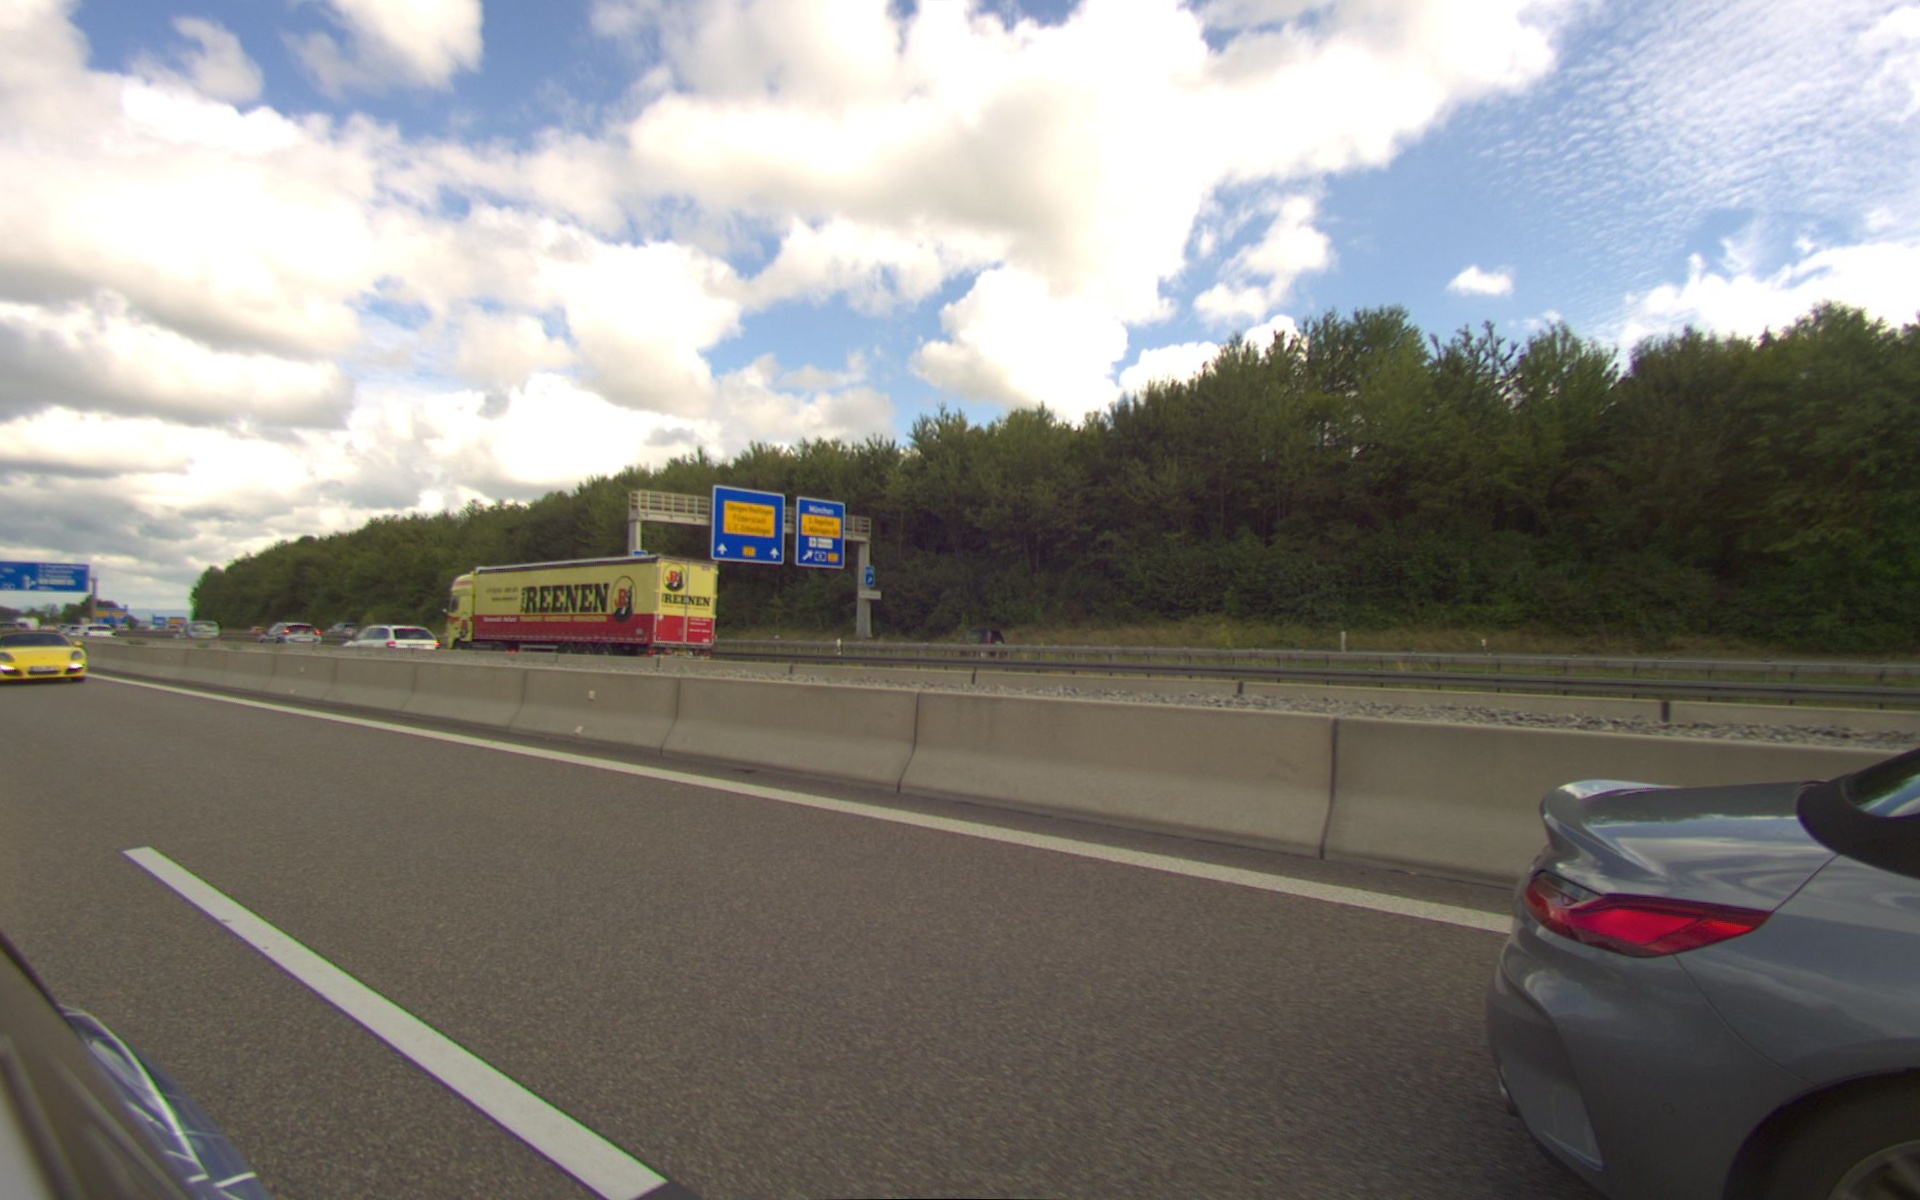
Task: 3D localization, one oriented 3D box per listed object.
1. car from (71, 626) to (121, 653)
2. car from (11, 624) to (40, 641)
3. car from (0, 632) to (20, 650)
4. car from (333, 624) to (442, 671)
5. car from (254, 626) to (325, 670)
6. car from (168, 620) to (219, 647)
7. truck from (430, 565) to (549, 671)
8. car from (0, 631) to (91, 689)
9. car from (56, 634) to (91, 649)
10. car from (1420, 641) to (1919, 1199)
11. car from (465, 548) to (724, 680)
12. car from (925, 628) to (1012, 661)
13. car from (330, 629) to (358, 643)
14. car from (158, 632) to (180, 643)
[{"bbox_3d":[-53.326,2.397,62.439,4.178,1.584,1.758,-1,-1,41],"label":"car"},{"bbox_3d":[-127.105,4.428,137.599,6.456,2.289,2.142,-1,-2,40],"label":"car"},{"bbox_3d":[-87.836,3.779,92.938,4.463,1.623,1.753,-2,-1,41],"label":"car"},{"bbox_3d":[-18.434,1.504,32.505,4.531,1.412,1.649,-2,-2,41],"label":"car"},{"bbox_3d":[-33.080,2.312,49.883,4.551,2.029,1.734,-1,-1,41],"label":"car"},{"bbox_3d":[-47.055,2.046,62.092,4.461,1.623,1.578,-2,-1,41],"label":"car"},{"bbox_3d":[-20.661,0.801,44.403,5.159,4.356,2.866,-2,-2,41],"label":"truck"},{"bbox_3d":[-23.263,1.456,25.218,4.245,1.325,1.788,-2,-3,41],"label":"car"},{"bbox_3d":[-79.472,3.706,90.692,4.672,1.304,1.752,-2,-1,41],"label":"car"},{"bbox_3d":[3.469,0.745,1.280,4.939,1.312,1.854,-2,-1,41],"label":"car"},{"bbox_3d":[-14.571,0.628,39.137,14.137,4.358,2.875,-2,-2,41],"label":"car"},{"bbox_3d":[0.407,2.286,52.773,4.417,1.674,1.827,-1,-2,41],"label":"car"},{"bbox_3d":[-64.501,3.767,105.994,3.758,1.437,1.450,-2,-2,41],"label":"car"},{"bbox_3d":[-109.148,5.181,139.633,4.049,1.375,1.547,-1,-2,40],"label":"car"}]
